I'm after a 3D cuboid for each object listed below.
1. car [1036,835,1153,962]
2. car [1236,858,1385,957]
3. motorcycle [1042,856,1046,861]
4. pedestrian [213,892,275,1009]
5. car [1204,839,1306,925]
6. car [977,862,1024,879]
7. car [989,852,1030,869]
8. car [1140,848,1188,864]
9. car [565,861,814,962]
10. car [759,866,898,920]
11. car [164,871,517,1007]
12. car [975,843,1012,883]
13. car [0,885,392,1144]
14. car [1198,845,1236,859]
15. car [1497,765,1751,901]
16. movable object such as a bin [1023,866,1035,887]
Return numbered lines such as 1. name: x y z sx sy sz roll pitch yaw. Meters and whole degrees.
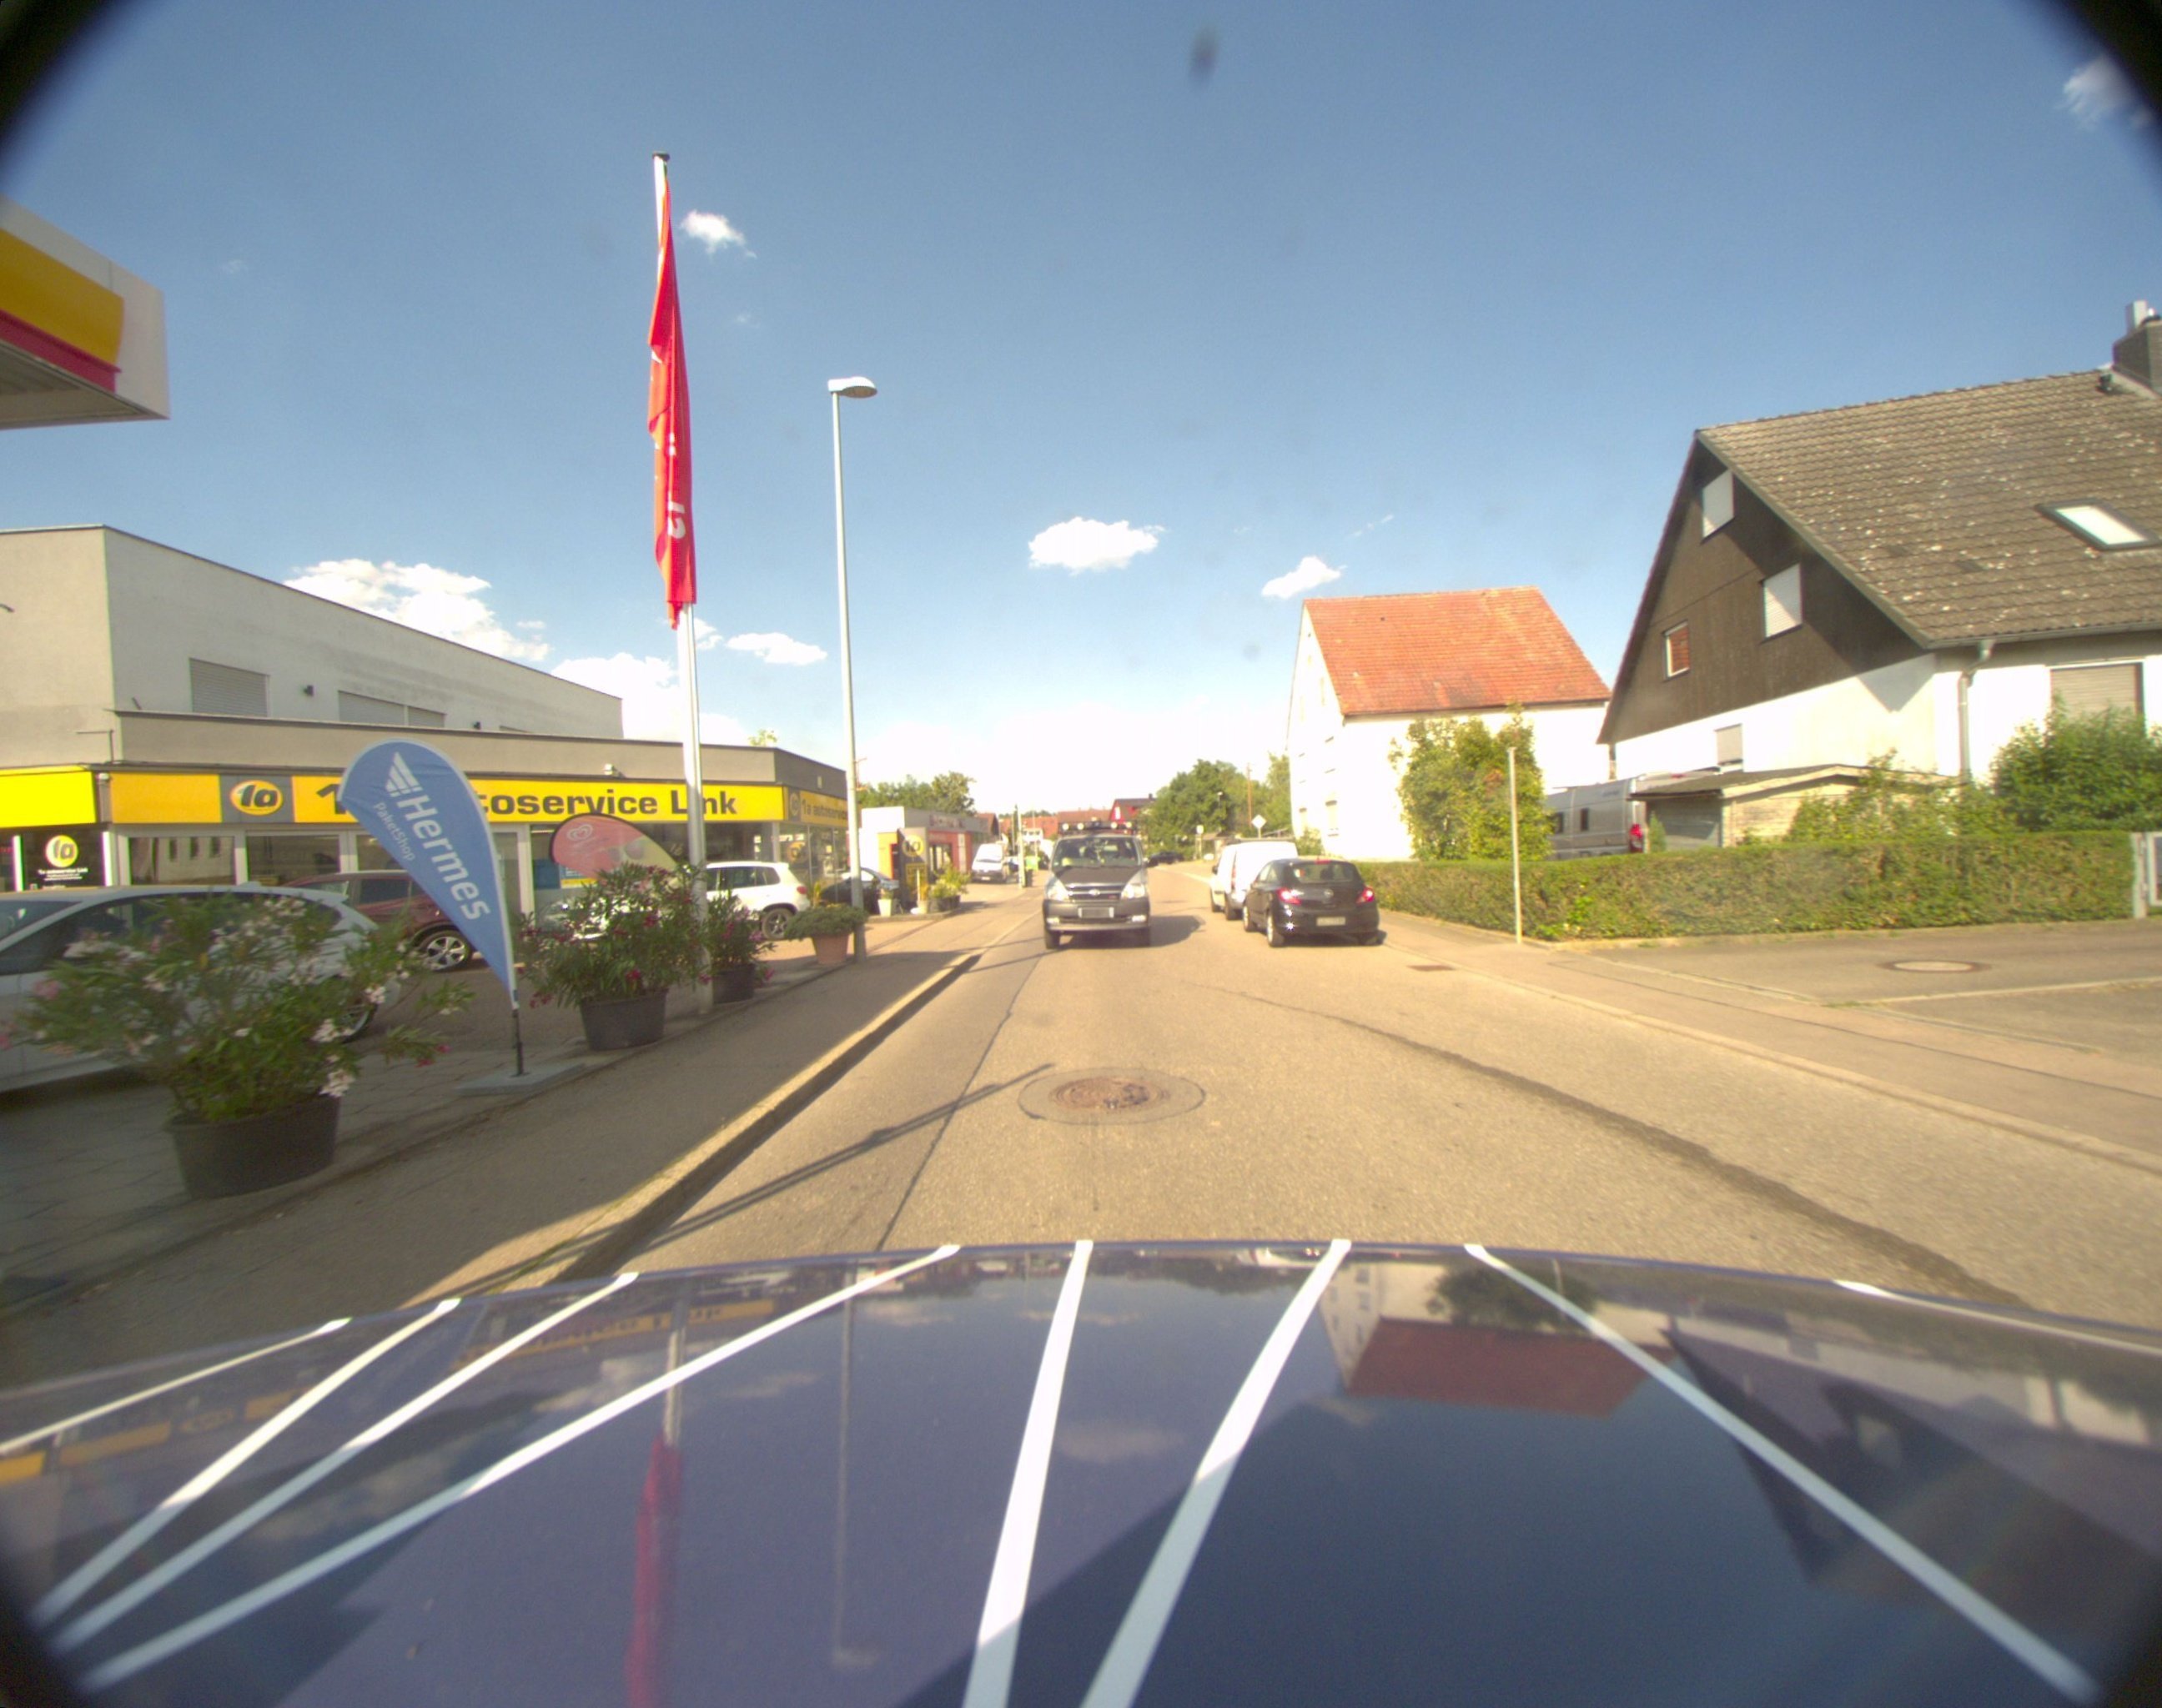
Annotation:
1. car: 0.233 0.696 14.531 1.820 1.988 4.820 -2 0 0
2. car: 3.930 0.835 13.620 1.676 1.443 3.835 -2 0 3
3. motorcycle: -6.865 0.827 142.443 0.539 1.007 2.027 -5 1 0
4. pedestrian: -11.128 1.259 10.113 0.432 1.471 0.623 -3 1 -41
5. car: 4.198 0.619 18.976 1.720 1.861 4.192 -1 0 2
6. car: -7.491 1.559 70.983 4.073 1.408 1.626 -1 1 4
7. car: -7.272 0.675 77.728 3.948 1.594 1.682 -2 2 2
8. car: 8.992 0.202 82.072 4.849 1.423 1.768 -2 1 -20
9. car: -7.661 1.021 15.101 4.086 1.665 1.672 -1 0 -41
10. car: -8.259 1.260 25.036 3.996 1.522 1.528 -2 0 2
11. car: -11.259 1.170 11.918 3.694 1.624 1.672 -2 1 -41
12. car: -5.545 0.521 48.485 1.841 2.361 5.177 -2 0 -2
13. car: -7.815 1.118 5.624 1.676 1.568 3.999 -2 0 1
14. car: 15.879 -0.230 88.645 4.282 1.483 1.857 -3 1 -37
15. car: 12.555 -0.425 18.291 2.163 2.580 6.097 -4 0 6
16. movable object such as a bin: -2.769 1.180 40.330 0.568 1.069 0.572 -2 1 -3
